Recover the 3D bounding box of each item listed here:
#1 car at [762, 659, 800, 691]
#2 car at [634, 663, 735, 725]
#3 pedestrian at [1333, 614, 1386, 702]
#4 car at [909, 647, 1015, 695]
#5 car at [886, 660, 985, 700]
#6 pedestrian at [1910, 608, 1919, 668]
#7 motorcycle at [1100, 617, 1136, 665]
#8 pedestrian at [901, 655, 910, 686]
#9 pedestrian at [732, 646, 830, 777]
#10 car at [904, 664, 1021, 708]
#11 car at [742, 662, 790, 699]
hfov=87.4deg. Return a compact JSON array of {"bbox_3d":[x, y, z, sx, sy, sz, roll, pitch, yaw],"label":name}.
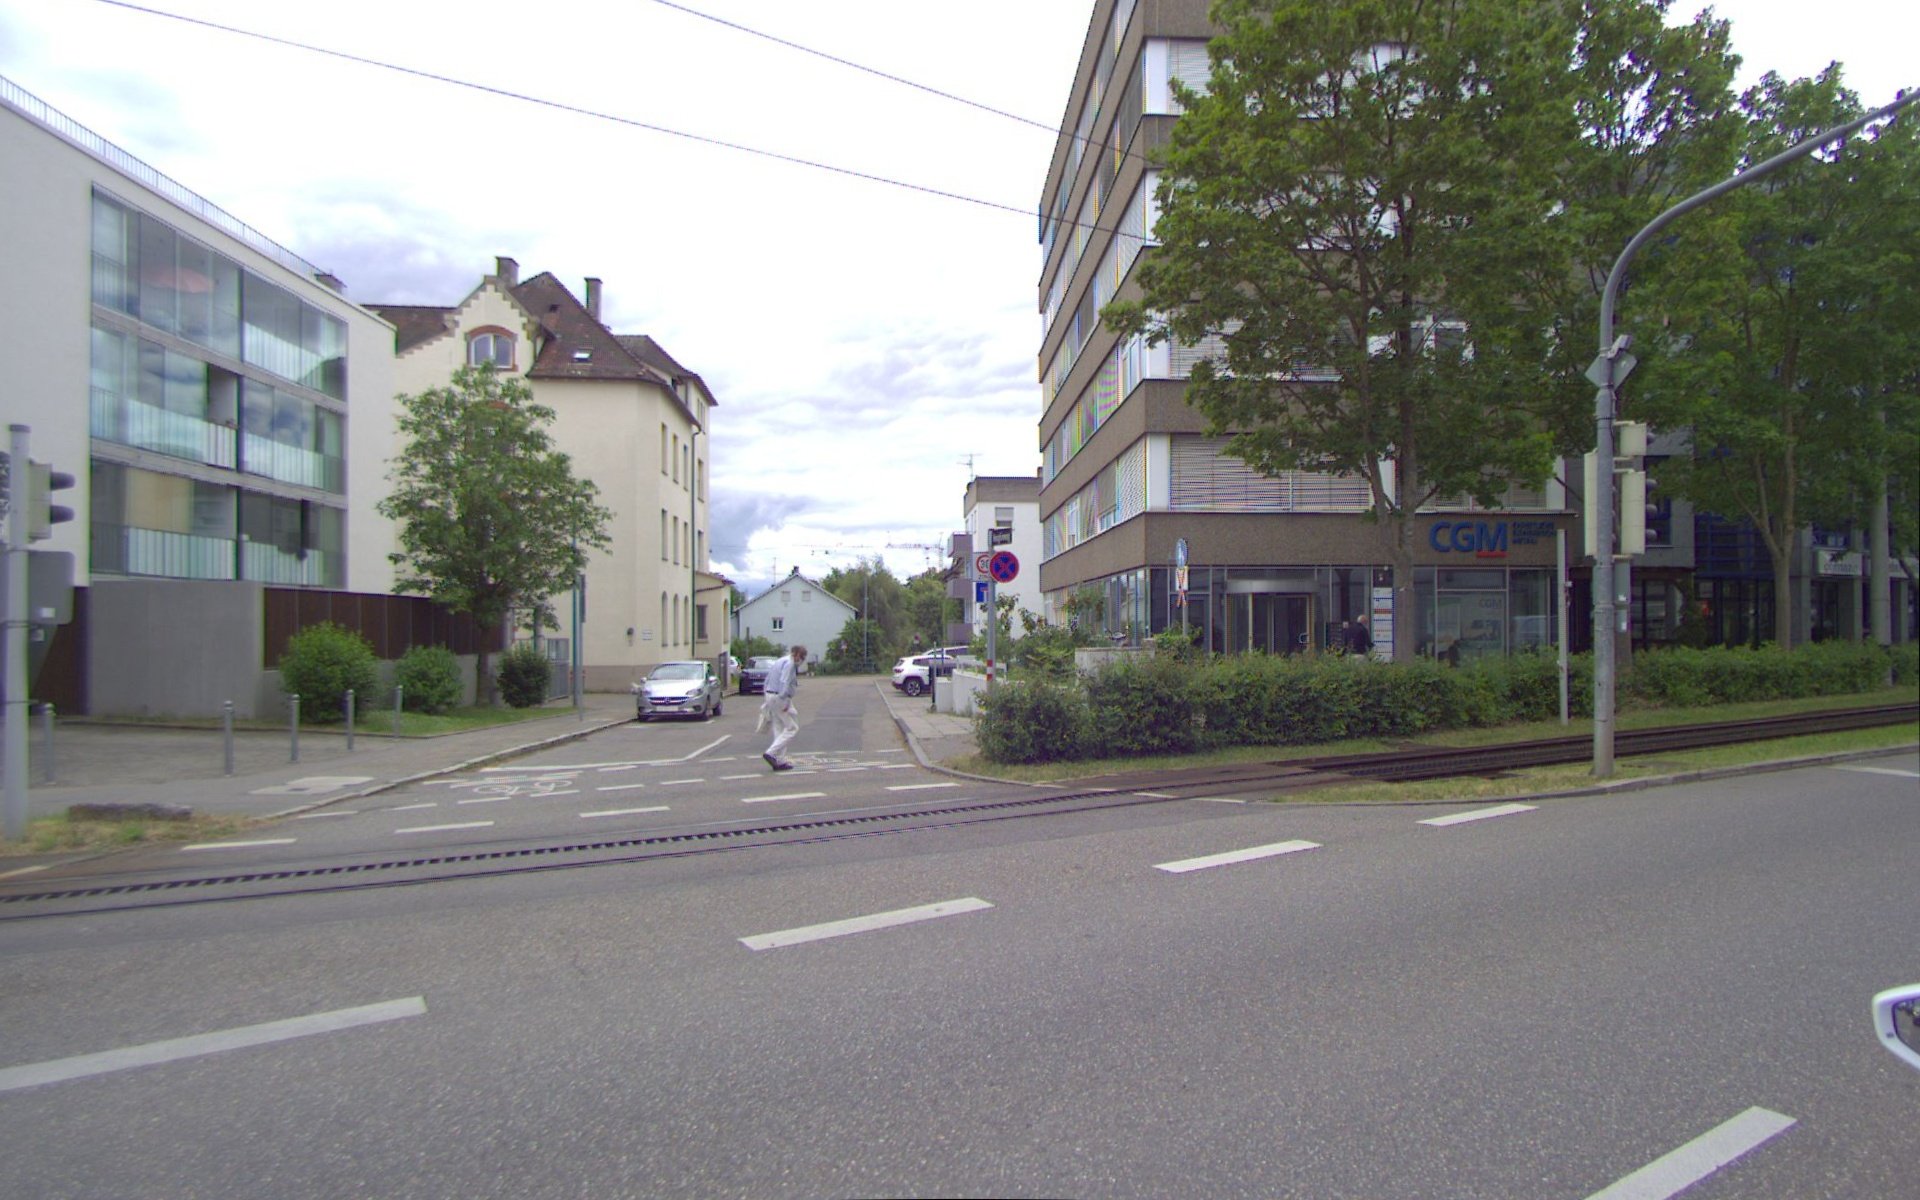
[{"bbox_3d":[-9.976,4.186,56.170,1.865,1.550,3.996,0,-1,-7],"label":"car"},{"bbox_3d":[-6.886,2.322,25.493,1.610,1.377,4.000,0,-3,-3],"label":"car"},{"bbox_3d":[8.035,1.158,20.208,0.673,1.728,0.685,0,-2,-26],"label":"pedestrian"},{"bbox_3d":[0.052,3.183,45.409,4.601,2.095,1.853,0,-3,-8],"label":"car"},{"bbox_3d":[-1.044,3.286,41.541,3.926,1.594,1.853,0,-3,-8],"label":"car"},{"bbox_3d":[31.610,1.239,32.777,0.614,1.933,0.672,1,-2,-28],"label":"pedestrian"},{"bbox_3d":[4.127,1.051,26.360,0.557,1.215,1.884,0,-1,-3],"label":"motorcycle"},{"bbox_3d":[-3.128,4.043,57.897,0.520,1.752,0.467,0,-1,-5],"label":"pedestrian"},{"bbox_3d":[-2.252,1.356,12.605,0.984,1.546,0.844,1,-2,-30],"label":"pedestrian"},{"bbox_3d":[0.054,2.990,35.118,3.926,1.443,1.729,0,-3,-8],"label":"car"},{"bbox_3d":[-8.581,3.555,44.706,1.644,1.521,3.999,0,-3,-4],"label":"car"}]
